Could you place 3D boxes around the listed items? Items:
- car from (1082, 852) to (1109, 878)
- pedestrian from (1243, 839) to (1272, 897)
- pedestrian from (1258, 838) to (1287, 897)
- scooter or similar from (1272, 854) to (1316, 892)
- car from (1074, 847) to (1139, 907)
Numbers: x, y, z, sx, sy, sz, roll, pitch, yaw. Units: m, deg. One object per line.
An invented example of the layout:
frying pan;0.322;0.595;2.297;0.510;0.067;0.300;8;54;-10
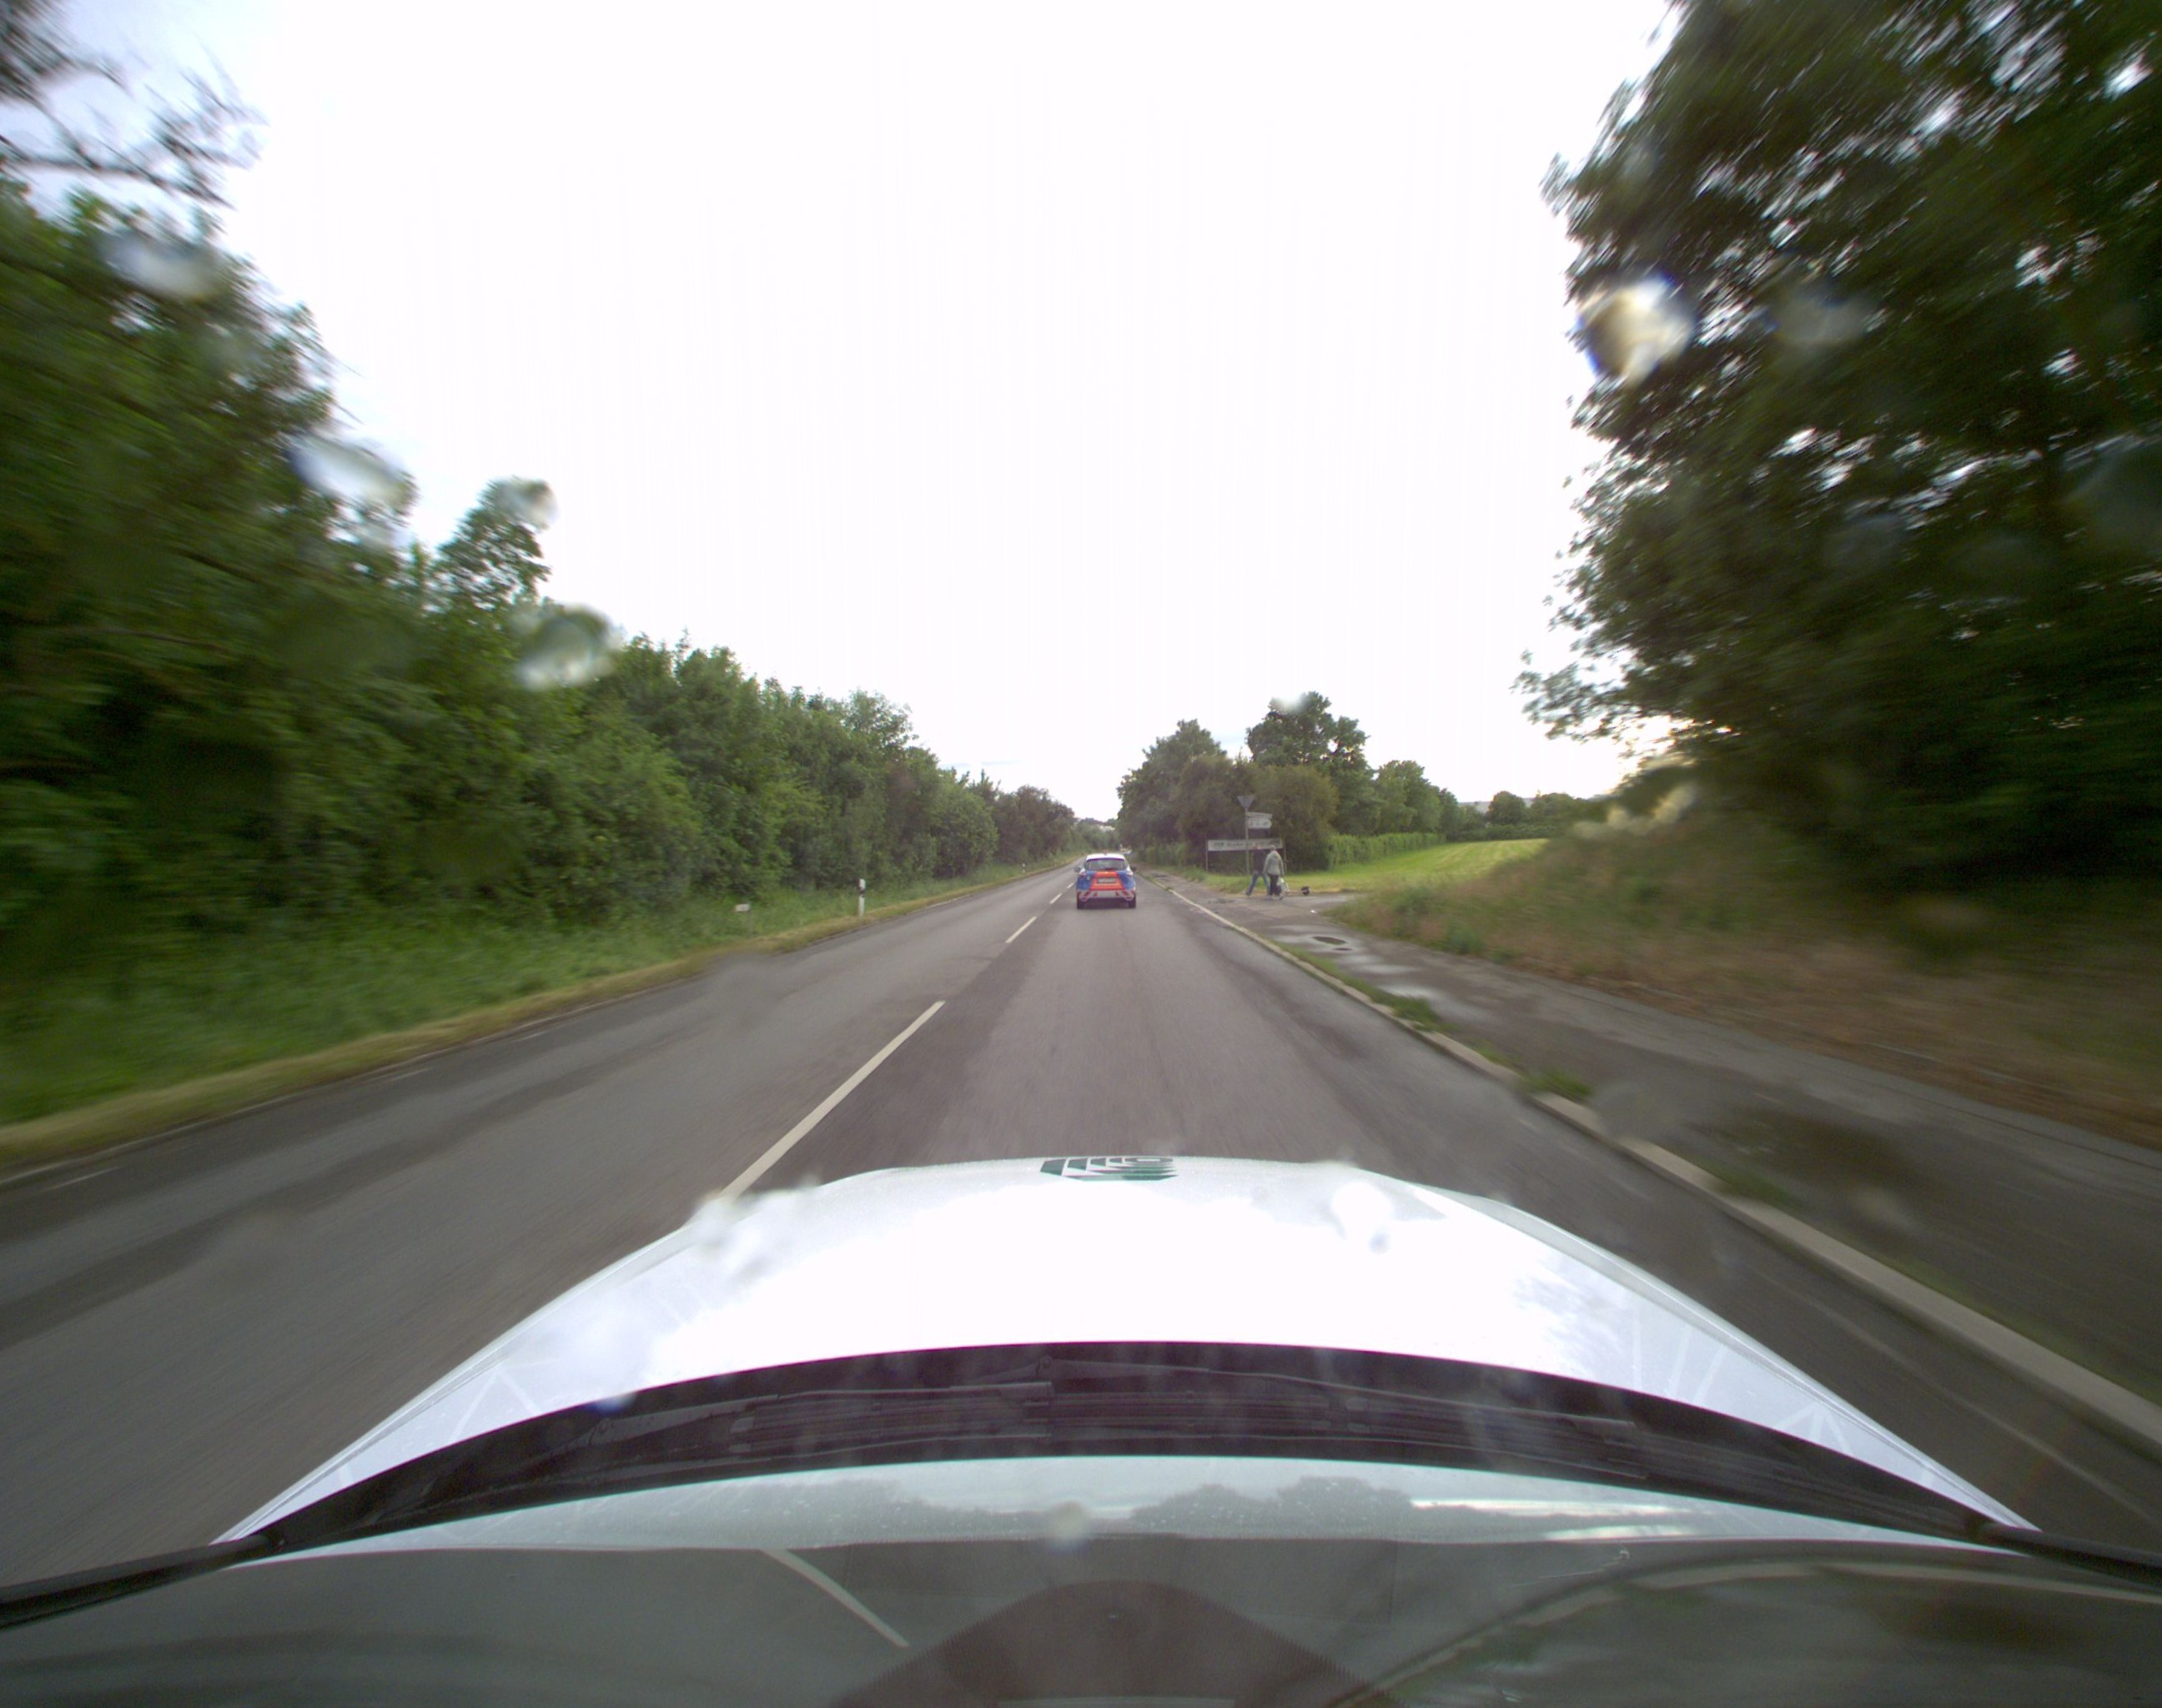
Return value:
car;0.932;0.688;51.951;1.688;1.595;3.856;0;0;1
pedestrian;5.694;0.437;26.311;0.690;1.827;0.801;-3;-1;1
pedestrian;5.923;0.423;25.246;0.658;1.778;0.760;-3;-1;1
scooter or similar;6.869;0.625;26.286;1.310;1.206;0.376;-3;-1;42
car;0.757;0.644;24.516;1.799;1.668;3.857;0;0;1
